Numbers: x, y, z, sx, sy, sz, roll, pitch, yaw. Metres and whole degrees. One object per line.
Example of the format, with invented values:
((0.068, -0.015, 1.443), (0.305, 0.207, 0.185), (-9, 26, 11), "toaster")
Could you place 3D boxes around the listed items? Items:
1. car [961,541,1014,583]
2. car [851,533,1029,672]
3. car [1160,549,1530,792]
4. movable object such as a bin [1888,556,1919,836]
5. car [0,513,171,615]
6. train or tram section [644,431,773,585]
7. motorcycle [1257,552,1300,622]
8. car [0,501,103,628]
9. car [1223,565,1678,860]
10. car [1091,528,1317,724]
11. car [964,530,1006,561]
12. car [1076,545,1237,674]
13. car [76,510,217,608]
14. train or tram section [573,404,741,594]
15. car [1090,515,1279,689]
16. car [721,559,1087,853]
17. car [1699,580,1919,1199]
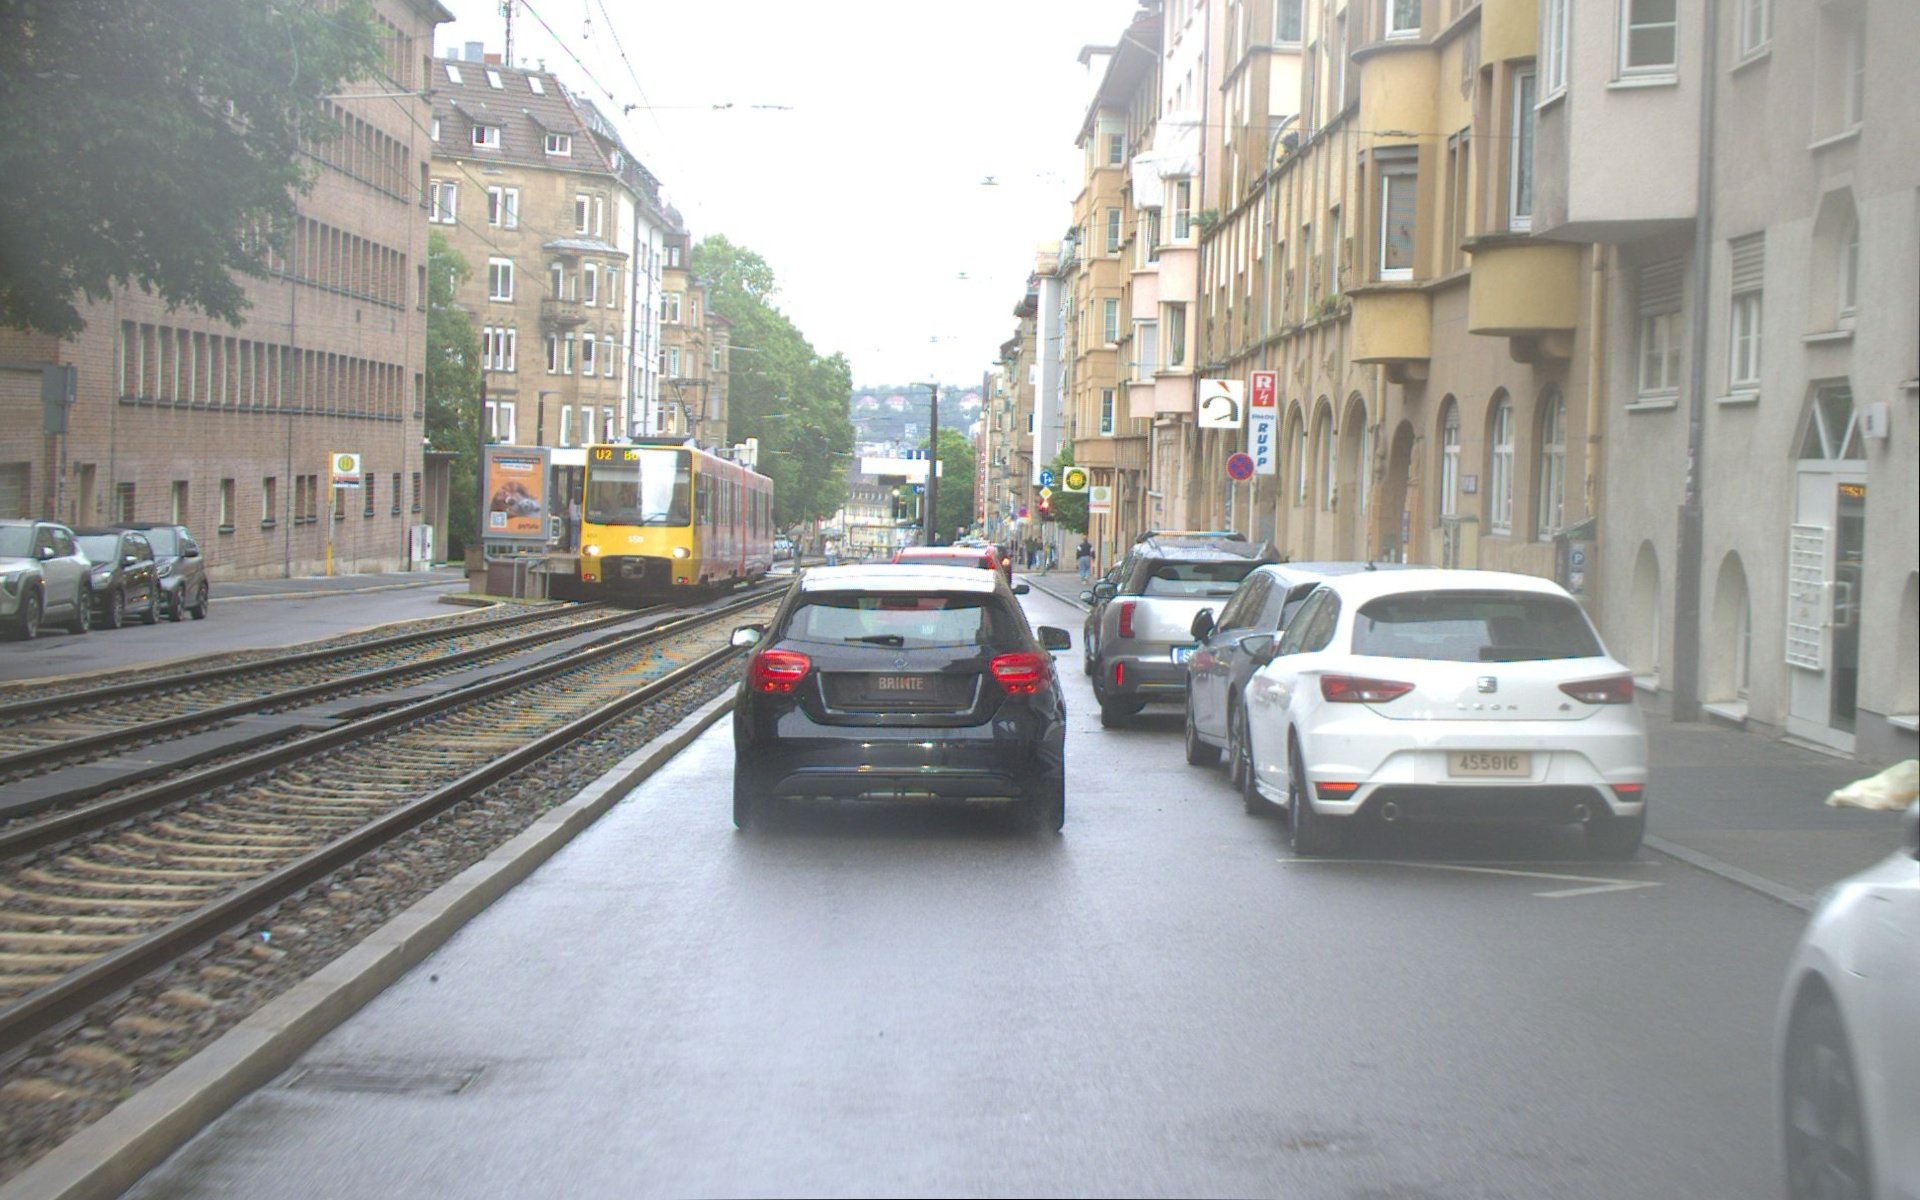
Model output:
((1.054, -1.445, 130.108), (1.887, 1.520, 4.245), (2, 1, 2), "car")
((-0.234, -0.002, 41.695), (1.993, 1.520, 4.245), (2, 1, 0), "car")
((2.495, 0.421, 23.314), (1.832, 1.463, 4.376), (1, 0, -2), "car")
((5.539, 0.513, 17.907), (1.018, 1.463, 1.323), (1, 0, -1), "movable object such as a bin")
((-13.027, -0.566, 51.298), (1.666, 1.410, 3.688), (2, 1, -1), "car")
((-7.100, -2.610, 99.045), (2.745, 4.048, 15.662), (1, 1, -1), "train or tram section")
((5.563, -0.236, 60.138), (0.556, 1.156, 2.269), (-3, 1, 2), "motorcycle")
((-13.039, -0.530, 46.239), (1.961, 1.600, 4.329), (2, 1, -1), "car")
((2.515, 0.526, 18.644), (1.789, 1.381, 4.395), (1, 0, 0), "car")
((2.125, 0.204, 31.105), (1.841, 1.602, 4.760), (1, 0, 2), "car")
((1.303, -2.848, 180.901), (2.134, 1.520, 4.245), (2, 1, 0), "car")
((2.362, 0.096, 41.913), (1.591, 1.435, 3.310), (3, 0, -2), "car")
((-12.995, -0.679, 55.061), (1.572, 1.461, 3.045), (2, 1, -2), "car")
((-7.085, -2.355, 82.809), (2.745, 4.048, 17.215), (1, 1, -1), "train or tram section")
((2.372, 0.009, 37.294), (1.778, 1.744, 4.548), (1, 0, 1), "car")
((-0.285, 0.516, 19.481), (1.834, 1.448, 3.902), (1, 1, 0), "car")
((2.562, 0.716, 5.505), (1.712, 1.463, 4.774), (1, 0, 0), "car")
